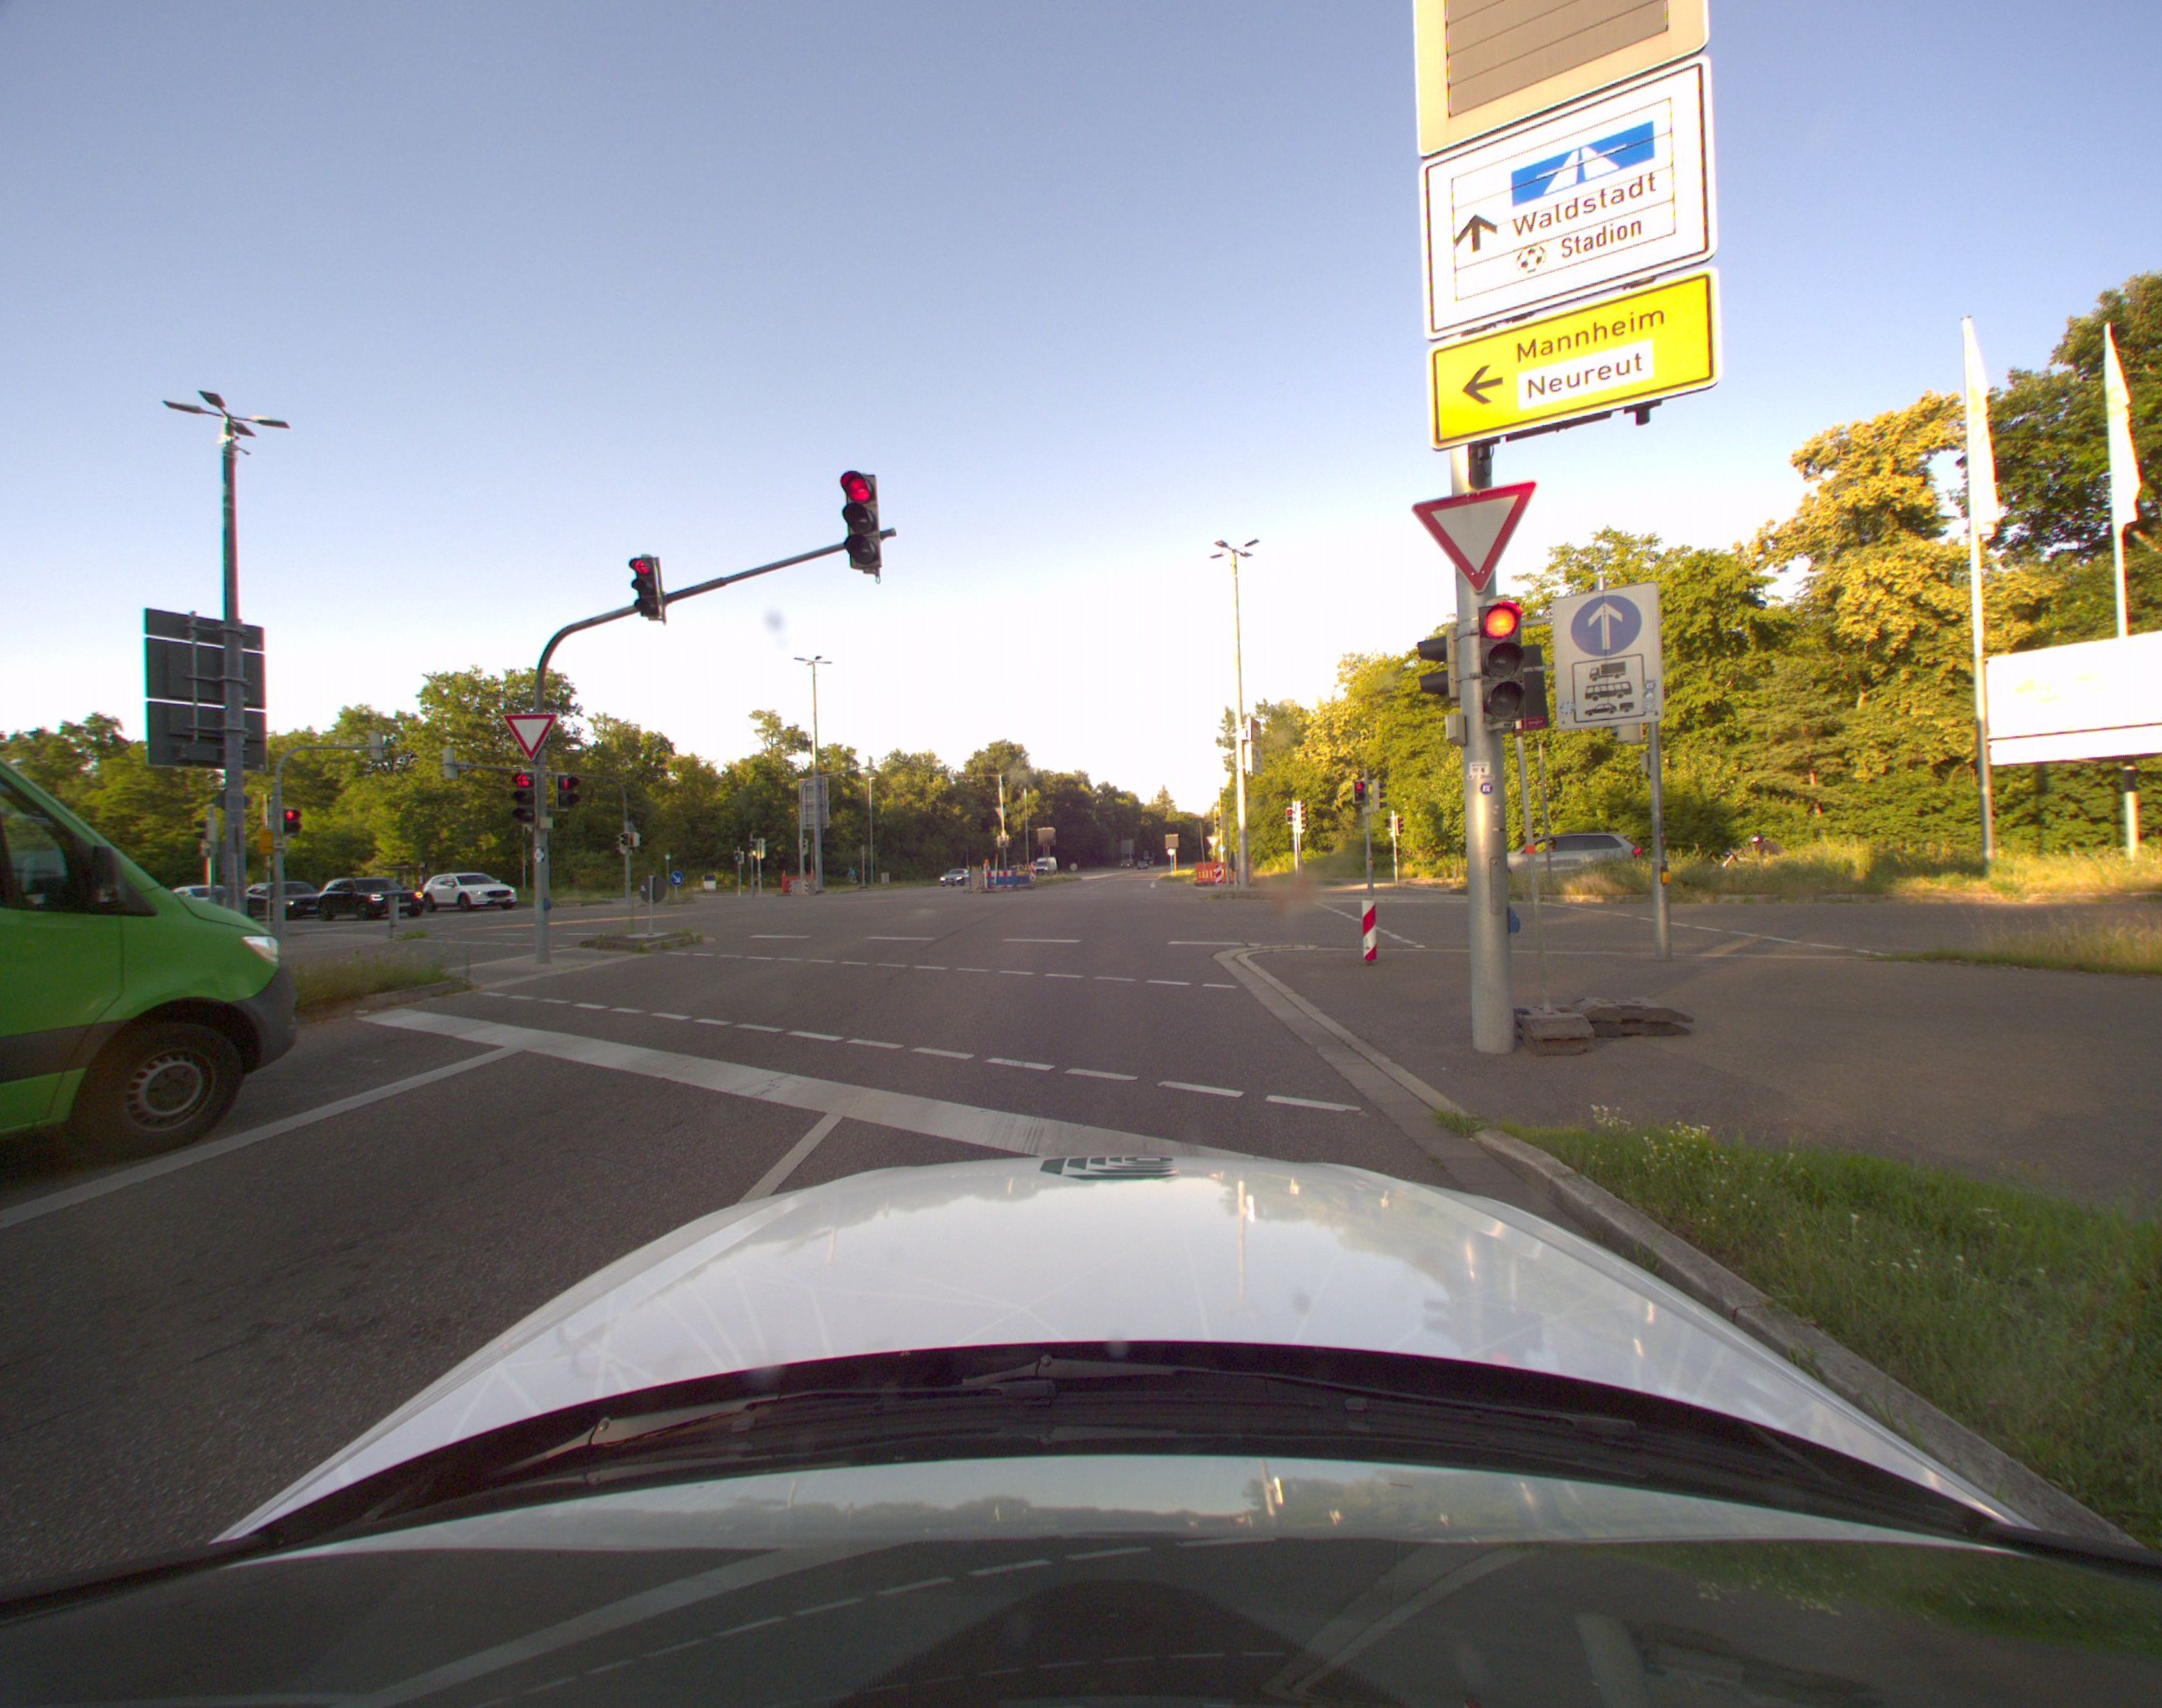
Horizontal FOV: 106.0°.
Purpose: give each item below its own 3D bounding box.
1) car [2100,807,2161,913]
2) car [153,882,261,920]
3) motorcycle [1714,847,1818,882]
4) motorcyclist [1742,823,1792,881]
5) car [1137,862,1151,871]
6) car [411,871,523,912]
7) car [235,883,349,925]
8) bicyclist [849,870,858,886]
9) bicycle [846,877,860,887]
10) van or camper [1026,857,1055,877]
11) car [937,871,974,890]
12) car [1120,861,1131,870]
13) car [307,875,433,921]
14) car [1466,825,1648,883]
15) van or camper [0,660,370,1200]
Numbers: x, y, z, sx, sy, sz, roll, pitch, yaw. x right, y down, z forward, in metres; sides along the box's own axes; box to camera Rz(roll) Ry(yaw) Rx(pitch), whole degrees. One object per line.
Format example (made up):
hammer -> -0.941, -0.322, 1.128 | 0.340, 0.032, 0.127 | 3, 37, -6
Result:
car -> 17.765, 0.012, 10.954 | 4.619, 1.530, 2.012 | -2, 0, 27
car -> -41.262, 2.204, 38.471 | 4.207, 1.640, 2.011 | -2, 0, 21
motorcycle -> 19.307, 0.293, 22.994 | 2.125, 0.910, 0.666 | -2, -1, 23
motorcyclist -> 19.342, -0.050, 22.972 | 0.878, 1.595, 0.658 | -2, -1, 23
car -> 12.198, 2.427, 158.123 | 1.979, 1.640, 4.016 | -3, 0, 14
car -> -26.764, 1.636, 35.495 | 4.206, 1.640, 2.011 | -2, 0, 23
car -> -33.929, 2.148, 35.030 | 4.205, 1.640, 2.011 | -2, 0, 23
bicyclist -> -19.761, 2.096, 70.747 | 0.522, 1.387, 0.402 | -1, -1, -40
bicycle -> -19.783, 2.399, 70.717 | 1.112, 0.825, 0.408 | -2, -1, -39
van or camper -> -5.836, 1.863, 119.219 | 2.869, 2.652, 7.139 | -2, 0, 8
car -> -10.249, 2.143, 66.860 | 1.882, 1.441, 4.506 | -2, 0, 5
car -> 9.710, 2.486, 176.957 | 1.981, 1.640, 4.011 | -2, 0, 10
car -> -27.558, 1.693, 31.555 | 4.206, 1.640, 2.011 | -2, 0, 23
car -> 15.026, 0.022, 26.075 | 4.773, 1.598, 2.011 | -2, 0, 23
van or camper -> -5.862, 0.358, 2.557 | 1.987, 2.421, 5.896 | -2, 0, 1
